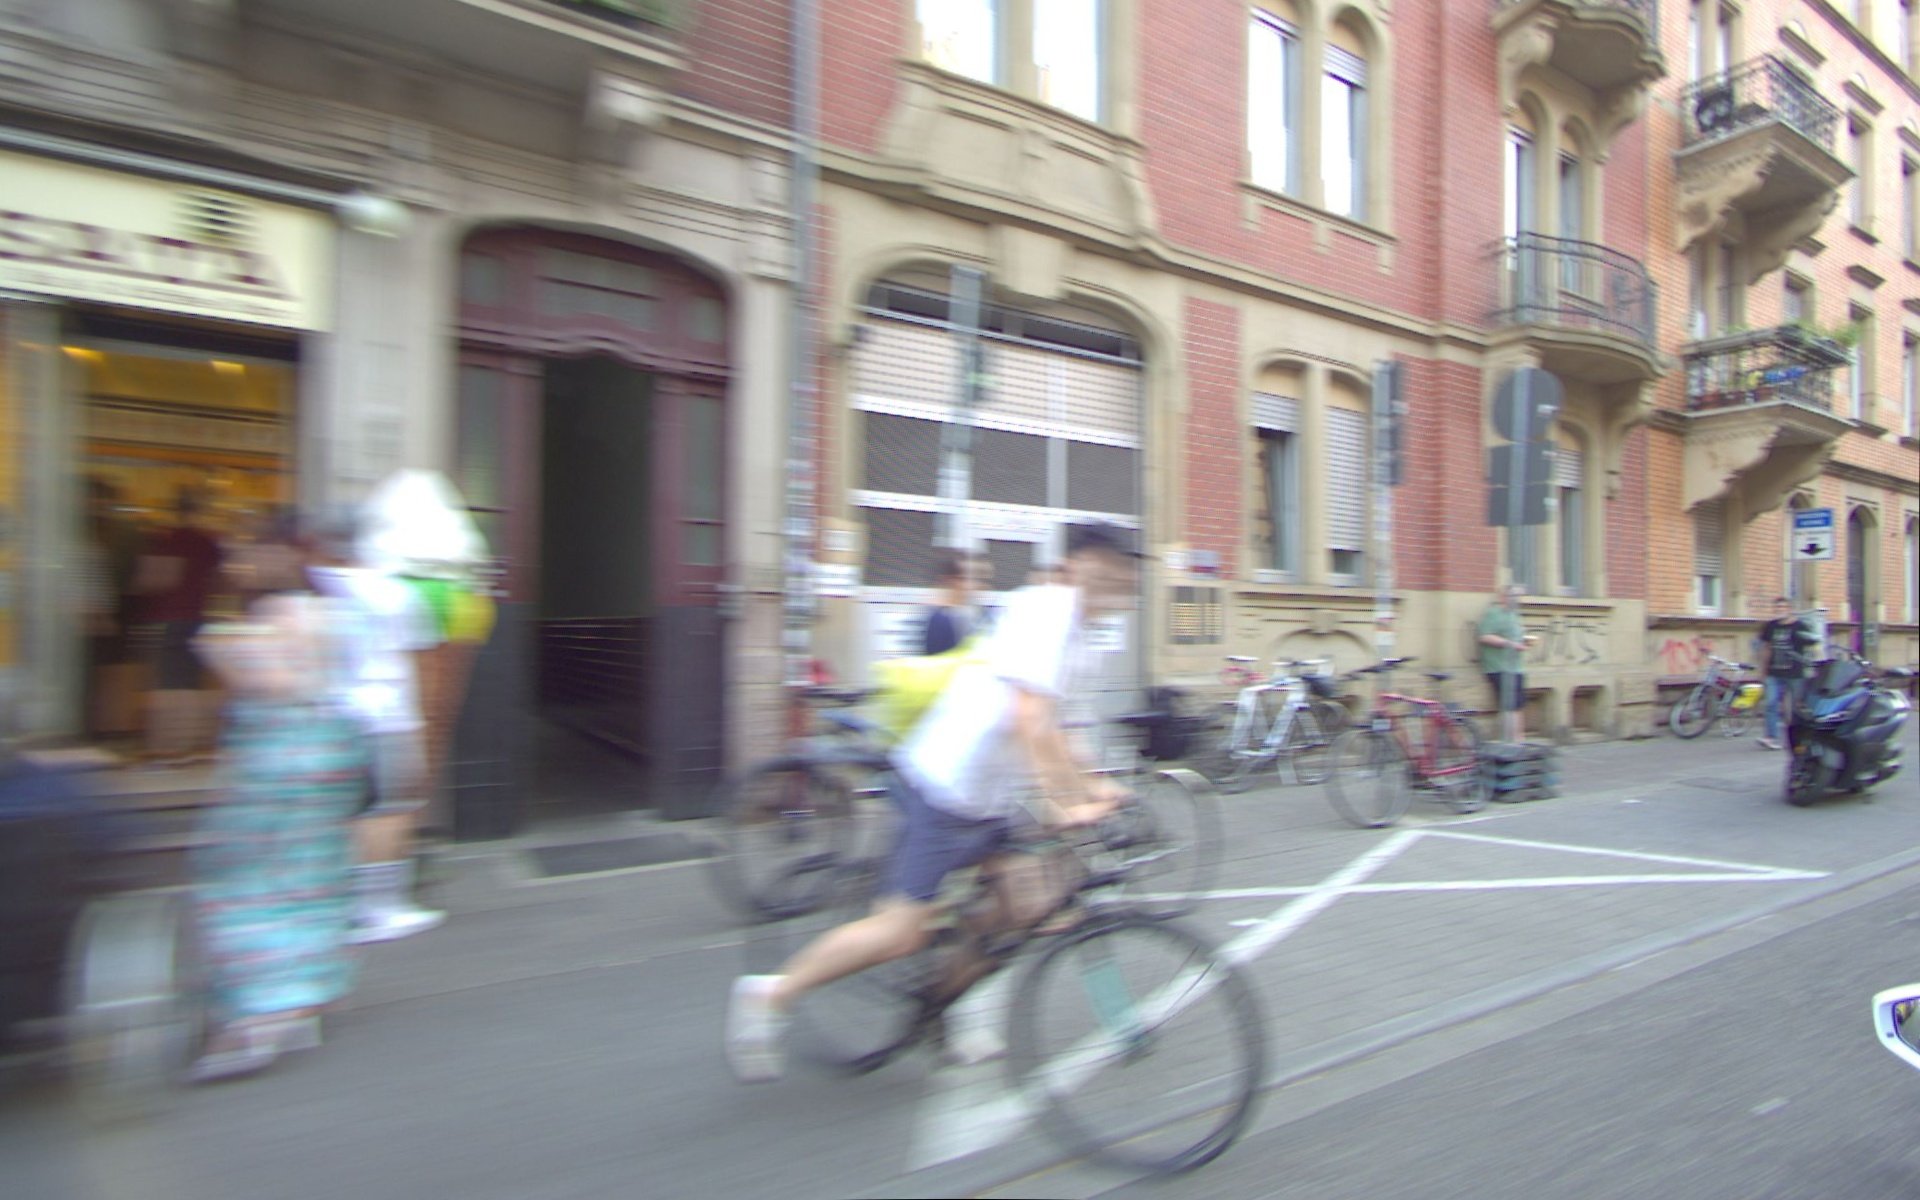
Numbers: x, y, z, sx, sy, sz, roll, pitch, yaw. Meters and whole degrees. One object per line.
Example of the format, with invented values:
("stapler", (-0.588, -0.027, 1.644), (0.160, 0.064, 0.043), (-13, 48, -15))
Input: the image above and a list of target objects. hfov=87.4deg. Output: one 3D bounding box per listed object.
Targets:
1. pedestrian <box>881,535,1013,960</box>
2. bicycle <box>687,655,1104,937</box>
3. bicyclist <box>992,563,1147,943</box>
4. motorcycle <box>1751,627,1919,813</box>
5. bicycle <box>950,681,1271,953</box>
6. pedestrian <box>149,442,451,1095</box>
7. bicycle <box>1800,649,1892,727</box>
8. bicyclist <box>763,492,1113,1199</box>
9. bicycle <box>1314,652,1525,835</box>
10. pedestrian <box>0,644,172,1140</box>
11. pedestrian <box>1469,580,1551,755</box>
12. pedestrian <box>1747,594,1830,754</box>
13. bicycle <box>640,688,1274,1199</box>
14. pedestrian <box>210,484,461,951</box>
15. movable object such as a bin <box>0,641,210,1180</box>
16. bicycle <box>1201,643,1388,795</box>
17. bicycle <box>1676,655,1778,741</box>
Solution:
("pedestrian", (-0.059, 0.603, 4.365), (0.347, 1.731, 0.415), (2, 0, -37))
("bicycle", (-0.271, 0.879, 4.907), (1.973, 1.170, 0.464), (2, 0, -25))
("bicyclist", (0.493, 0.655, 4.577), (0.481, 1.611, 0.463), (2, 0, -29))
("motorcycle", (7.642, 0.970, 8.572), (1.990, 1.423, 0.681), (2, 0, -30))
("bicycle", (0.734, 0.942, 4.719), (1.502, 1.082, 0.463), (2, 0, -29))
("pedestrian", (-2.161, 0.480, 3.290), (0.715, 1.838, 0.593), (2, 0, -41))
("bicycle", (13.919, 1.347, 15.758), (2.008, 1.116, 0.744), (2, -1, -39))
("bicyclist", (-0.045, 0.601, 2.788), (0.774, 1.726, 0.529), (2, 0, 23))
("bicycle", (3.325, 0.976, 7.204), (1.817, 1.175, 0.409), (2, 0, -31))
("pedestrian", (-2.654, 0.768, 2.787), (0.645, 1.267, 0.475), (2, 0, -32))
("pedestrian", (5.895, 0.711, 10.765), (0.634, 1.813, 0.461), (2, 0, -29))
("pedestrian", (10.014, 0.861, 12.139), (0.674, 1.834, 0.956), (2, 0, 44))
("bicycle", (-0.041, 0.909, 2.921), (1.748, 1.170, 0.520), (2, 0, 23))
("pedestrian", (-2.641, 0.475, 4.326), (0.708, 1.838, 0.598), (2, 0, -14))
("movable object such as a bin", (-2.622, 0.768, 2.768), (0.767, 1.267, 0.883), (2, 0, -31))
("bicycle", (2.873, 0.975, 8.552), (1.817, 1.175, 0.409), (2, 0, -31))
("bicycle", (10.017, 1.252, 13.101), (1.721, 1.043, 0.445), (2, 0, -31))
